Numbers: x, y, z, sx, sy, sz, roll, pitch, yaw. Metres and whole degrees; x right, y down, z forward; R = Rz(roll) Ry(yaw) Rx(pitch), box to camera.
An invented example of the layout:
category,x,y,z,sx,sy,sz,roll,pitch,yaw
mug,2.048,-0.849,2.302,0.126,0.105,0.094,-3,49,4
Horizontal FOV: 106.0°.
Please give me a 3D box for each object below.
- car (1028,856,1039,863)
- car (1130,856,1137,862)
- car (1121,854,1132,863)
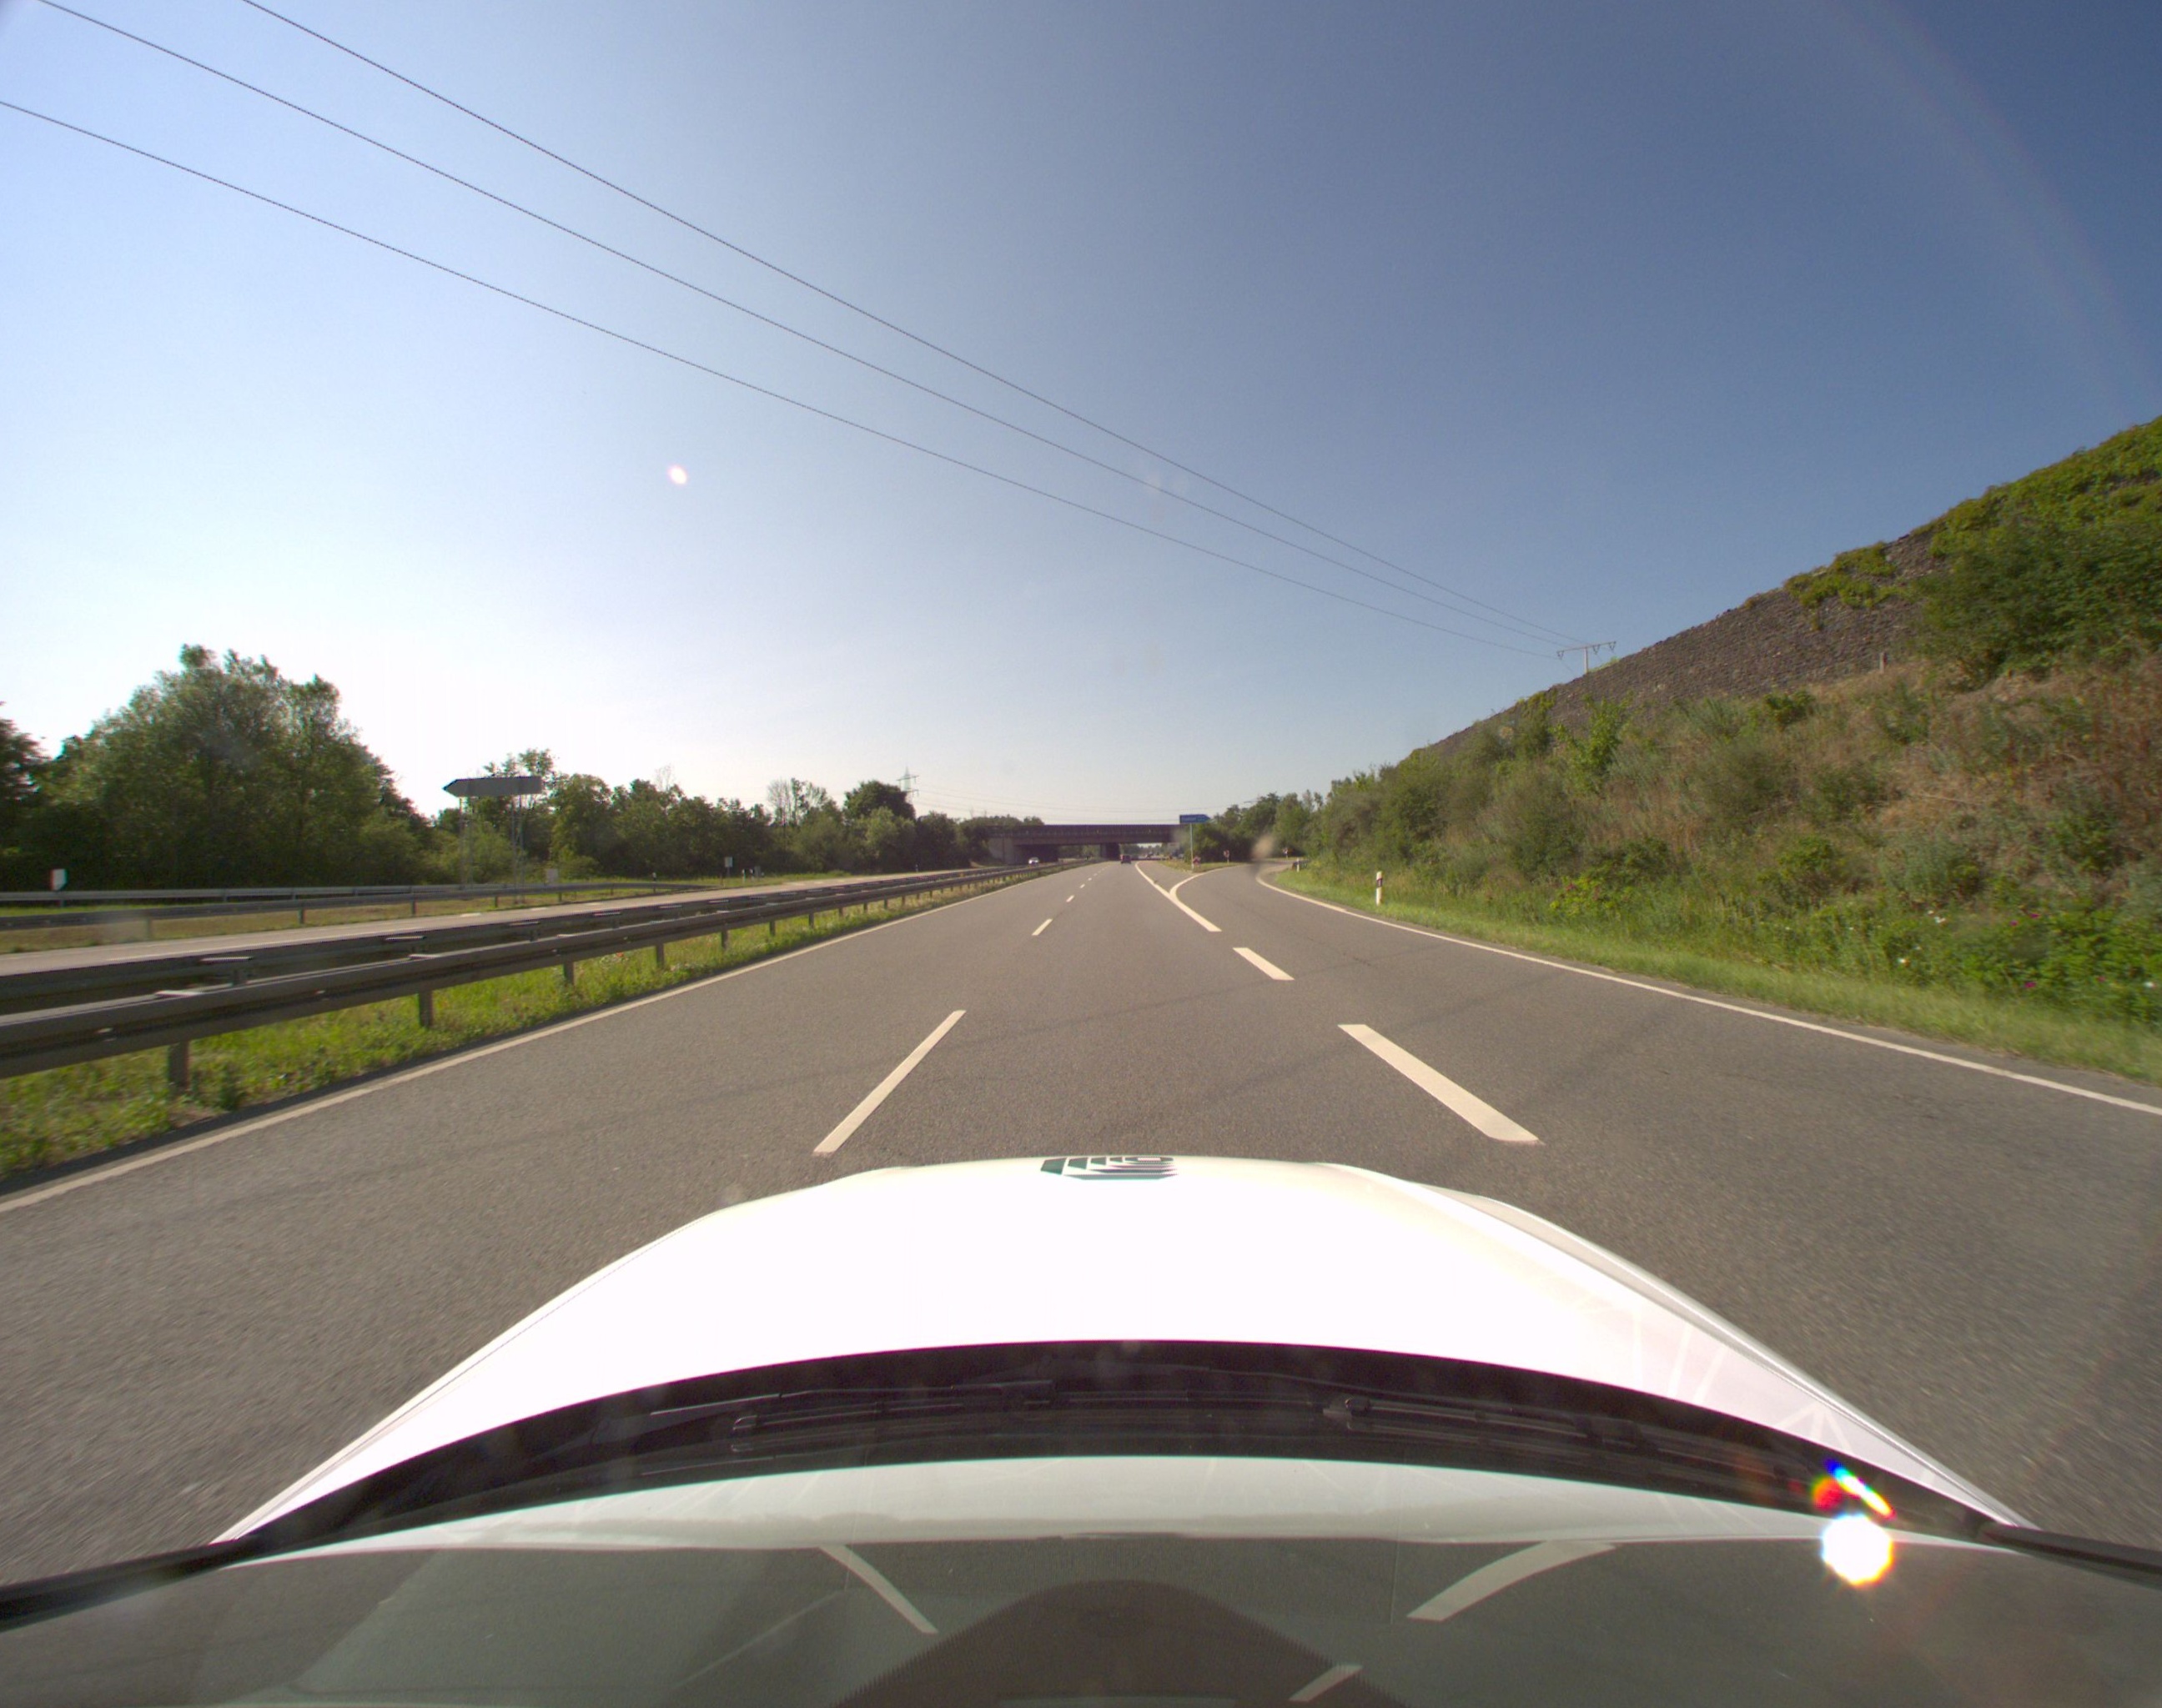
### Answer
category,x,y,z,sx,sy,sz,roll,pitch,yaw
car,-9.327,1.097,160.212,1.668,1.410,3.766,0,0,3
car,13.275,1.226,206.105,1.841,1.644,4.004,-1,0,4
car,7.962,0.793,143.384,1.841,1.644,4.004,-1,0,4
